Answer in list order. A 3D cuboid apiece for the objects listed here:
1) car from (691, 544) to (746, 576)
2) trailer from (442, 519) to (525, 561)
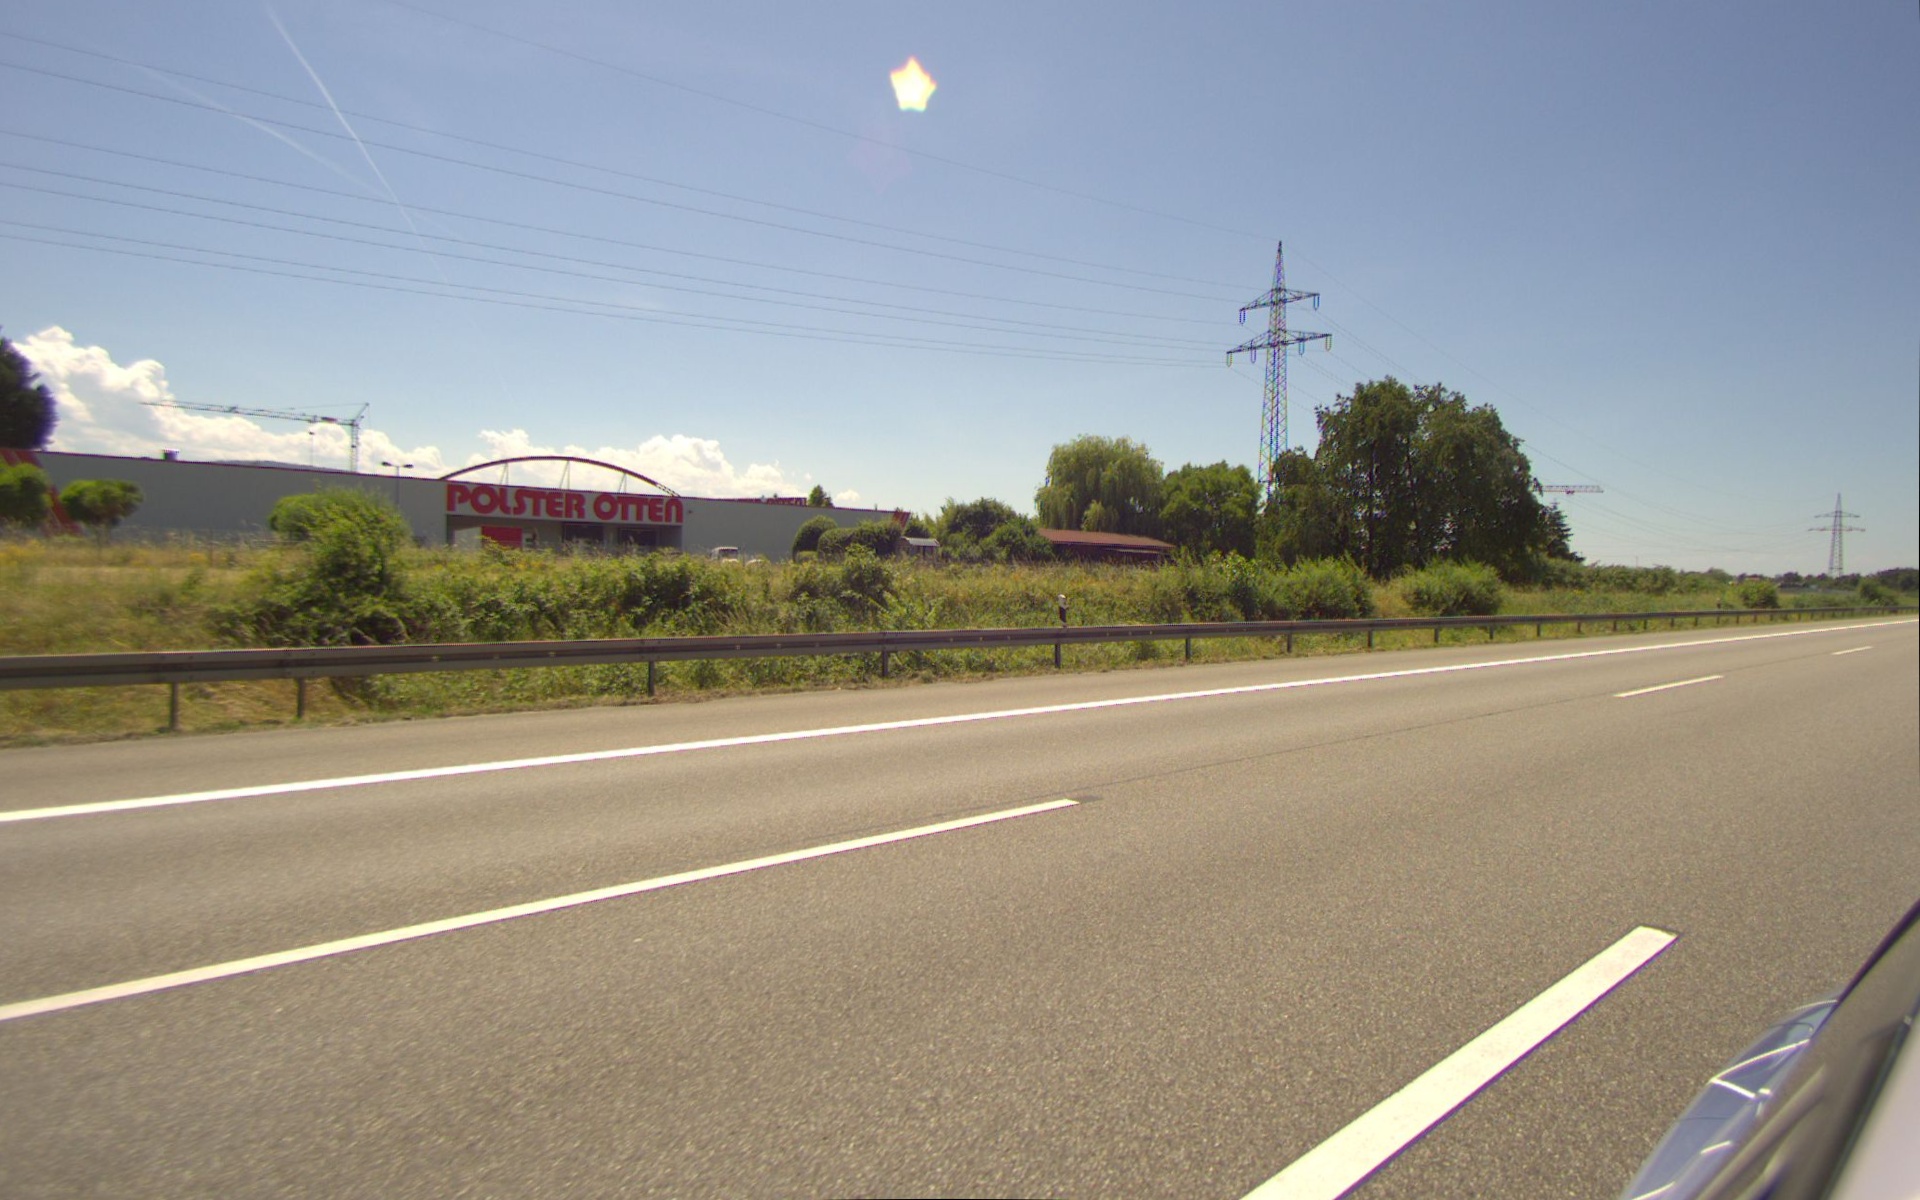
[{"bbox_3d":[-16.874,-2.760,70.600,1.967,2.039,3.990,0,0,-44],"label":"car"},{"bbox_3d":[-30.425,-3.848,64.430,2.926,2.410,7.927,0,3,-39],"label":"trailer"}]
